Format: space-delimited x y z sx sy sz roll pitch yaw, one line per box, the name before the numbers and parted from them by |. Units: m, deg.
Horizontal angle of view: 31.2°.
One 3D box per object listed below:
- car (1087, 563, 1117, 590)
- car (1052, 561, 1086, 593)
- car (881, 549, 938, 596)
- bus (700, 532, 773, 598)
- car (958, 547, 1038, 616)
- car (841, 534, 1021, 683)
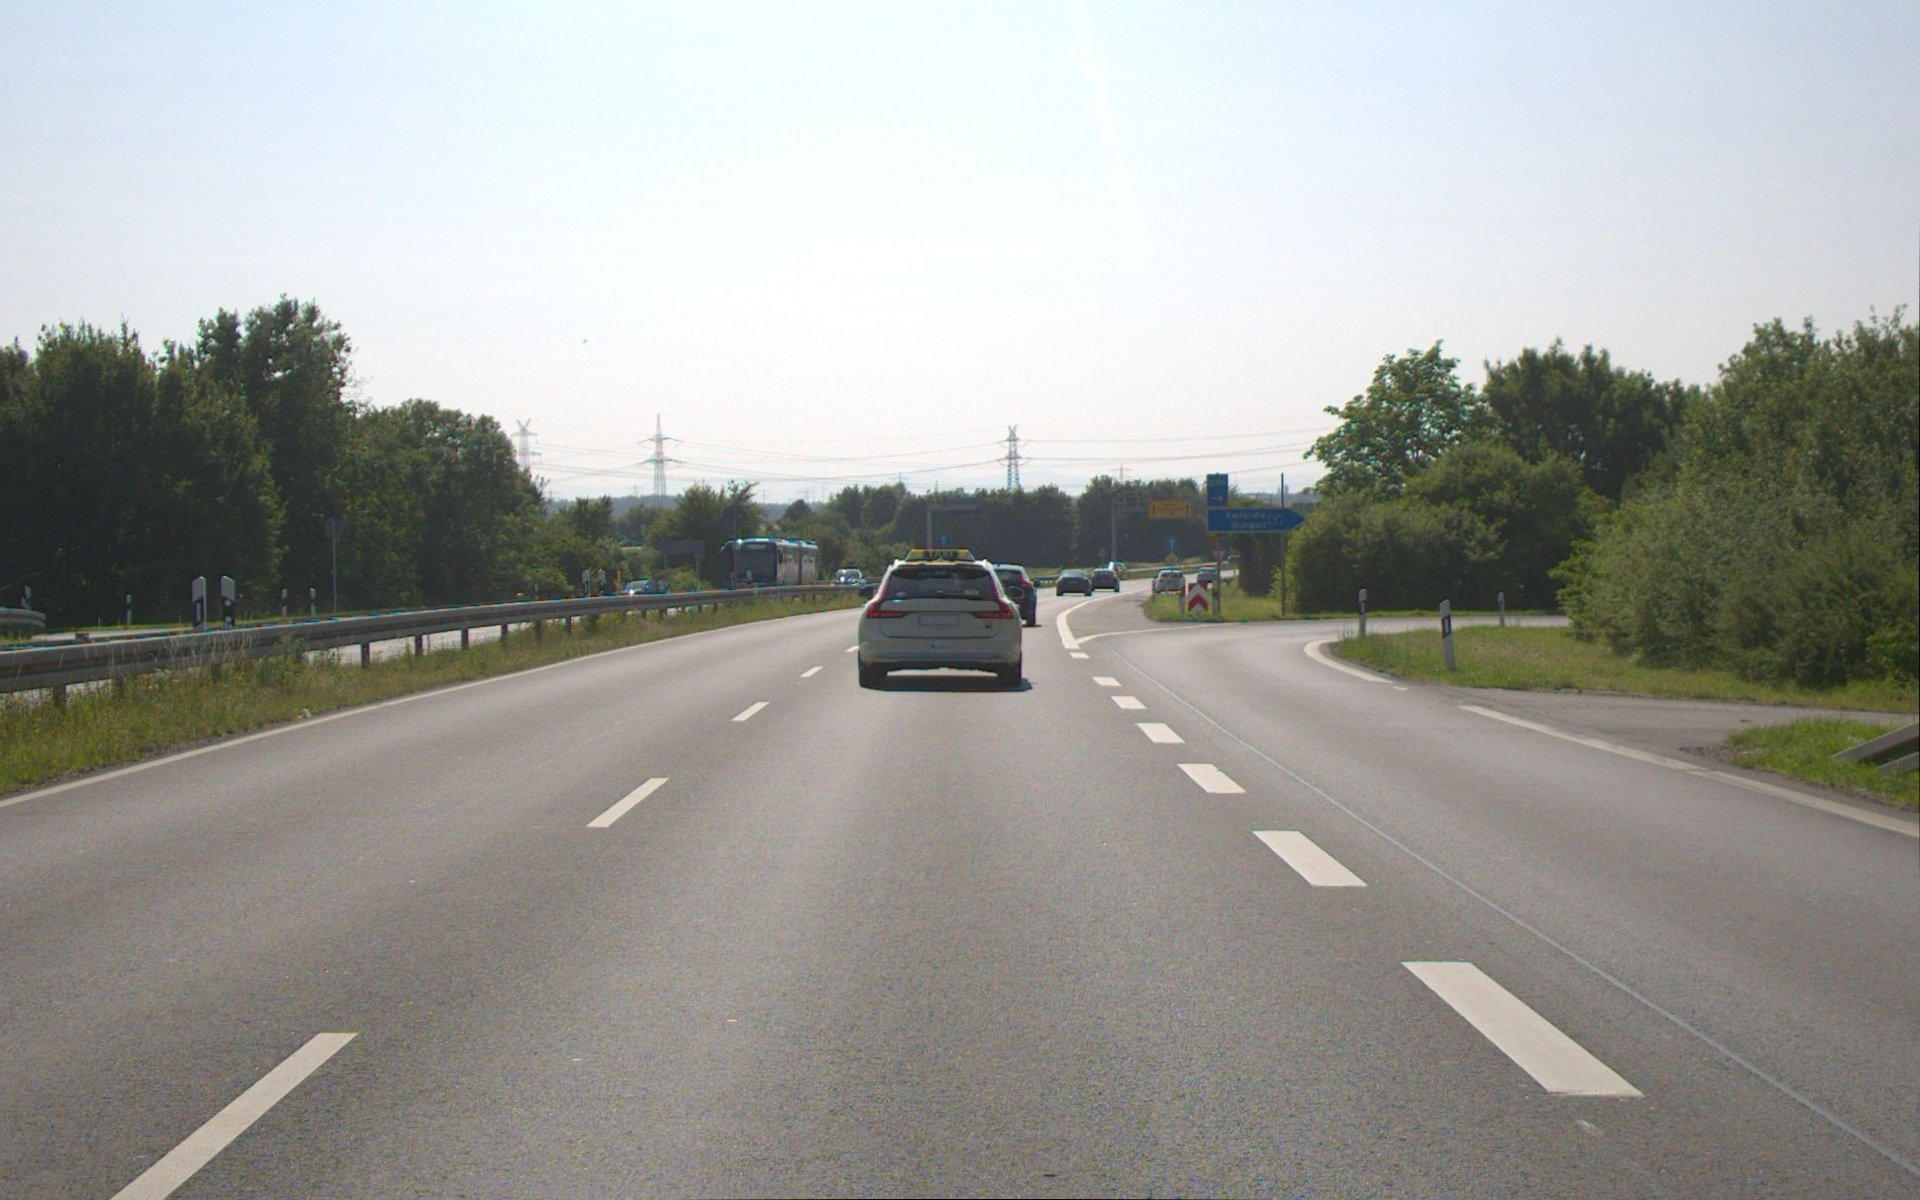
car | 9.106 -1.488 220.752 1.841 1.692 4.000 0 1 1
car | 6.122 -1.287 192.948 1.841 1.796 4.000 0 1 3
car | -1.623 -0.917 112.199 1.793 1.498 4.043 0 1 0
bus | -10.935 -1.746 168.861 2.725 3.099 9.835 -1 1 1
car | 0.872 -0.443 80.075 1.793 1.538 3.672 0 1 0
car | -0.287 0.053 40.368 1.958 1.596 4.107 1 2 1
